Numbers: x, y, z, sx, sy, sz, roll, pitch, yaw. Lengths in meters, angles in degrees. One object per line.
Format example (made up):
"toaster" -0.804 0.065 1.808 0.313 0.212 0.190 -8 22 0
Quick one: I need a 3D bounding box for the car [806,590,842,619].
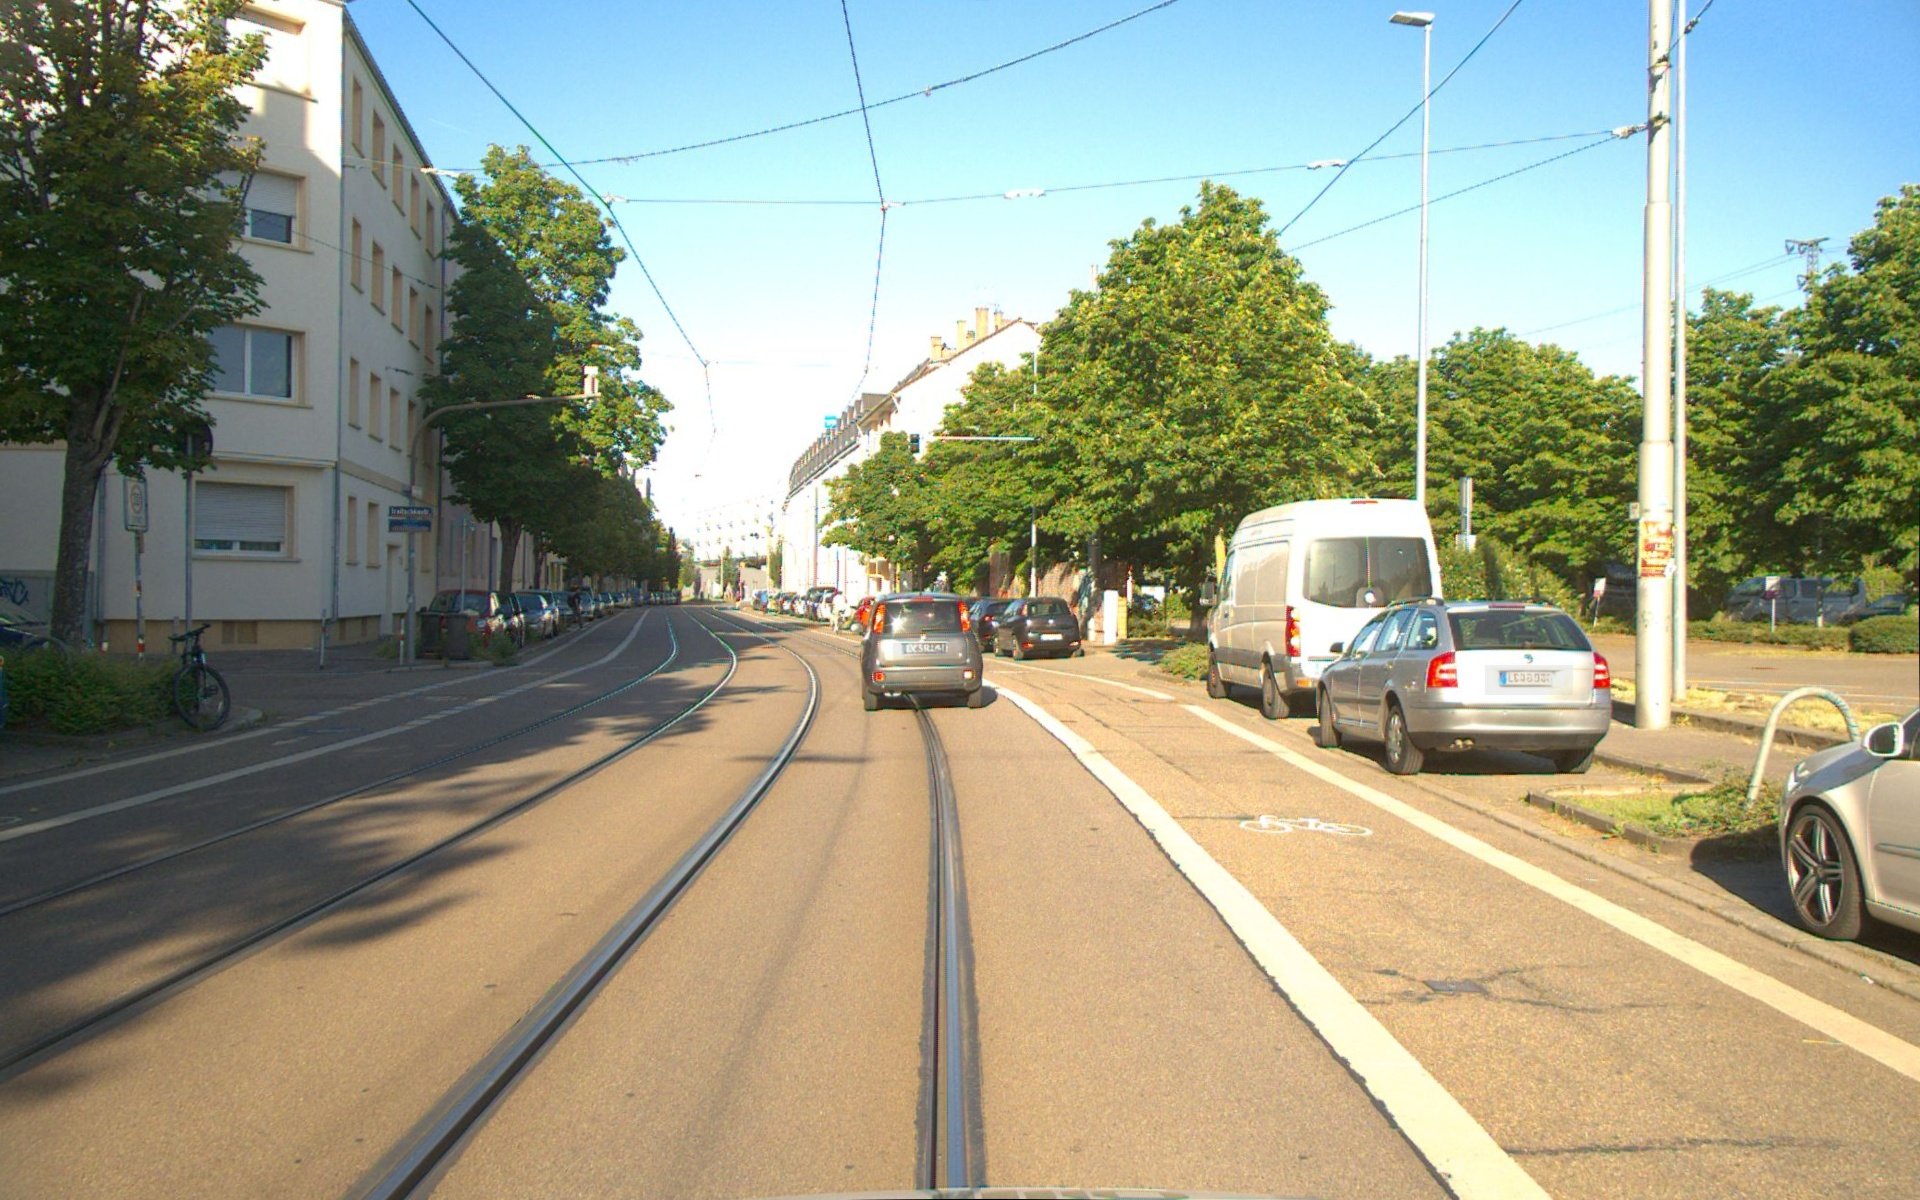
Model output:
"car" -7.839 0.219 95.089 1.626 1.599 3.866 1 0 -11

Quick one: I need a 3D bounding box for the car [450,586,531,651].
"car" -11.975 0.440 42.344 1.755 1.557 3.845 1 0 -13

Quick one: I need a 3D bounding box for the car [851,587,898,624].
"car" -3.790 0.222 72.718 1.606 1.534 3.389 -2 1 -10

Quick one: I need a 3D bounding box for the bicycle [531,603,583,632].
"bicycle" -15.579 0.684 63.928 1.889 1.064 0.475 1 0 -10

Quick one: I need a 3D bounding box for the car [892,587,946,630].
"car" -1.614 0.319 63.654 1.657 1.557 3.994 -1 0 -7

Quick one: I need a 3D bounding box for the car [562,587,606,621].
"car" -17.633 0.161 77.719 1.776 1.534 4.180 1 0 -10

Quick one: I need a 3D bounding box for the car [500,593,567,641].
"car" -14.006 0.531 54.473 1.657 1.501 4.650 1 0 -9

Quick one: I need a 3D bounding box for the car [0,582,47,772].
"car" -8.902 0.630 12.214 1.754 1.588 4.641 1 0 -1

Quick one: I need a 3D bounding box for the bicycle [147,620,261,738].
"bicycle" -8.119 0.816 17.837 0.502 1.154 2.028 1 0 -7

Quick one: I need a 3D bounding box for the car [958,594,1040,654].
"car" 1.032 0.624 46.353 1.657 1.557 4.348 -1 0 -7

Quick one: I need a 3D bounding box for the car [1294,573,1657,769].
"car" 4.586 0.558 15.514 1.871 1.556 4.599 0 0 -1

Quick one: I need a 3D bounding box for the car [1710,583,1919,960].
"car" 4.795 0.721 6.359 1.693 1.538 4.249 1 0 -3

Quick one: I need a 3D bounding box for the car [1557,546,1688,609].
"car" 24.908 -0.841 62.214 4.114 2.280 2.137 0 0 -13

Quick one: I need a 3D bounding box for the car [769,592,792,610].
"car" -14.361 0.058 132.403 1.555 1.430 3.367 1 0 -11

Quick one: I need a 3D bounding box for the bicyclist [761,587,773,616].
"bicyclist" -13.728 0.110 117.712 0.702 2.049 0.829 1 0 -11

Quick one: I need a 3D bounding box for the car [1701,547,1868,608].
"car" 26.965 -0.720 54.134 4.596 1.847 1.958 1 0 -9

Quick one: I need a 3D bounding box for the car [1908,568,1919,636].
"car" 28.611 0.119 45.082 4.596 1.847 1.958 1 0 -9

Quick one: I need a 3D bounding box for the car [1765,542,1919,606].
"car" 27.751 -0.781 51.465 4.596 1.847 1.958 1 0 -9

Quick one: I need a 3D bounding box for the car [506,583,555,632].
"car" -15.579 0.253 60.095 1.624 1.697 4.280 1 0 -14

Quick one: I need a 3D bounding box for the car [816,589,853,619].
"car" -6.893 0.196 90.801 1.626 1.599 3.490 1 0 -11

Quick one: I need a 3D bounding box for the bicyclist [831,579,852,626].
"bicyclist" -4.646 0.101 64.759 0.687 1.790 0.755 1 0 -12

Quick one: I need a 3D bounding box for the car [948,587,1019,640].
"car" 0.691 0.386 51.588 1.657 1.557 3.994 -1 0 -7

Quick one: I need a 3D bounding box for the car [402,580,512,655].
"car" -11.269 0.371 37.295 1.656 1.557 3.994 1 0 -7

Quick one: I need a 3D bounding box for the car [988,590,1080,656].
"car" 1.817 0.540 41.621 1.657 1.557 3.994 -1 0 -7

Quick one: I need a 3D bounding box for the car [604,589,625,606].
"car" -31.189 -0.249 149.240 1.675 1.523 3.713 1 0 -9

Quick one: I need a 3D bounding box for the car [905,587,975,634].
"car" -0.735 0.348 58.175 1.660 1.557 3.987 -1 0 -13

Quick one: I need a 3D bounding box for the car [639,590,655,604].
"car" -36.497 -0.379 193.064 1.675 1.523 3.713 1 0 -9

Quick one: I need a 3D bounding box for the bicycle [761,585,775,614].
"bicycle" -13.693 -0.048 117.657 0.728 2.049 2.804 1 0 -11

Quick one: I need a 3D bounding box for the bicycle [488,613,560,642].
"bicycle" -13.429 0.834 50.941 2.089 0.839 0.476 1 0 -12

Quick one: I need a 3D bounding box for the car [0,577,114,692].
"car" -13.842 0.413 22.389 3.810 1.483 1.767 1 0 -5

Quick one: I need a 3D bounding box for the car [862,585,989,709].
"car" -0.459 0.587 23.182 1.616 1.568 4.234 0 0 -1

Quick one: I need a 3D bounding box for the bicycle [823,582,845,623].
"bicycle" -5.619 0.089 73.711 0.663 1.777 2.152 1 0 -11

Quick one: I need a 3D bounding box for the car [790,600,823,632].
"car" -9.834 1.018 106.040 1.626 1.978 4.652 1 0 -11

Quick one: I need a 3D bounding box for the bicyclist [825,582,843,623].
"bicyclist" -5.616 0.110 73.687 0.687 1.790 0.755 1 0 -12

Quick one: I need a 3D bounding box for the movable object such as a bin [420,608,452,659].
"movable object such as a bin" -10.551 0.673 33.313 0.475 1.005 0.658 1 0 -8

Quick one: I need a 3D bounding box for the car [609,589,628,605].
"car" -33.782 -0.312 163.571 1.675 1.523 3.713 1 0 -9

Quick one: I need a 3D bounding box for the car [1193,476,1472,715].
"car" 4.759 -0.064 22.265 2.136 2.712 6.089 -2 0 -2

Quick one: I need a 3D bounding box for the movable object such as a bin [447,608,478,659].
"movable object such as a bin" -10.050 0.676 33.434 0.475 1.005 0.658 1 0 -8

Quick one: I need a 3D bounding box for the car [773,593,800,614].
"car" -12.655 0.233 120.502 1.555 1.429 3.367 -3 1 -11

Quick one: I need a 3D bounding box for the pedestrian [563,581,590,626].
"pedestrian" -15.548 0.141 67.050 0.840 1.808 0.728 -1 1 -30

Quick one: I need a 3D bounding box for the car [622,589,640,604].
"car" -35.298 -0.390 177.399 1.675 1.523 3.713 1 0 -9

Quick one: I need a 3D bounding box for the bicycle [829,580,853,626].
"bicycle" -4.670 0.109 64.893 0.663 1.777 2.152 1 0 -11

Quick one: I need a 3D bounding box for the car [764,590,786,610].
"car" -15.505 0.026 138.733 1.555 1.627 3.367 1 0 -11

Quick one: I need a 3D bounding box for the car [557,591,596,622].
"car" -20.165 0.323 87.061 1.776 1.534 4.669 1 0 -10
